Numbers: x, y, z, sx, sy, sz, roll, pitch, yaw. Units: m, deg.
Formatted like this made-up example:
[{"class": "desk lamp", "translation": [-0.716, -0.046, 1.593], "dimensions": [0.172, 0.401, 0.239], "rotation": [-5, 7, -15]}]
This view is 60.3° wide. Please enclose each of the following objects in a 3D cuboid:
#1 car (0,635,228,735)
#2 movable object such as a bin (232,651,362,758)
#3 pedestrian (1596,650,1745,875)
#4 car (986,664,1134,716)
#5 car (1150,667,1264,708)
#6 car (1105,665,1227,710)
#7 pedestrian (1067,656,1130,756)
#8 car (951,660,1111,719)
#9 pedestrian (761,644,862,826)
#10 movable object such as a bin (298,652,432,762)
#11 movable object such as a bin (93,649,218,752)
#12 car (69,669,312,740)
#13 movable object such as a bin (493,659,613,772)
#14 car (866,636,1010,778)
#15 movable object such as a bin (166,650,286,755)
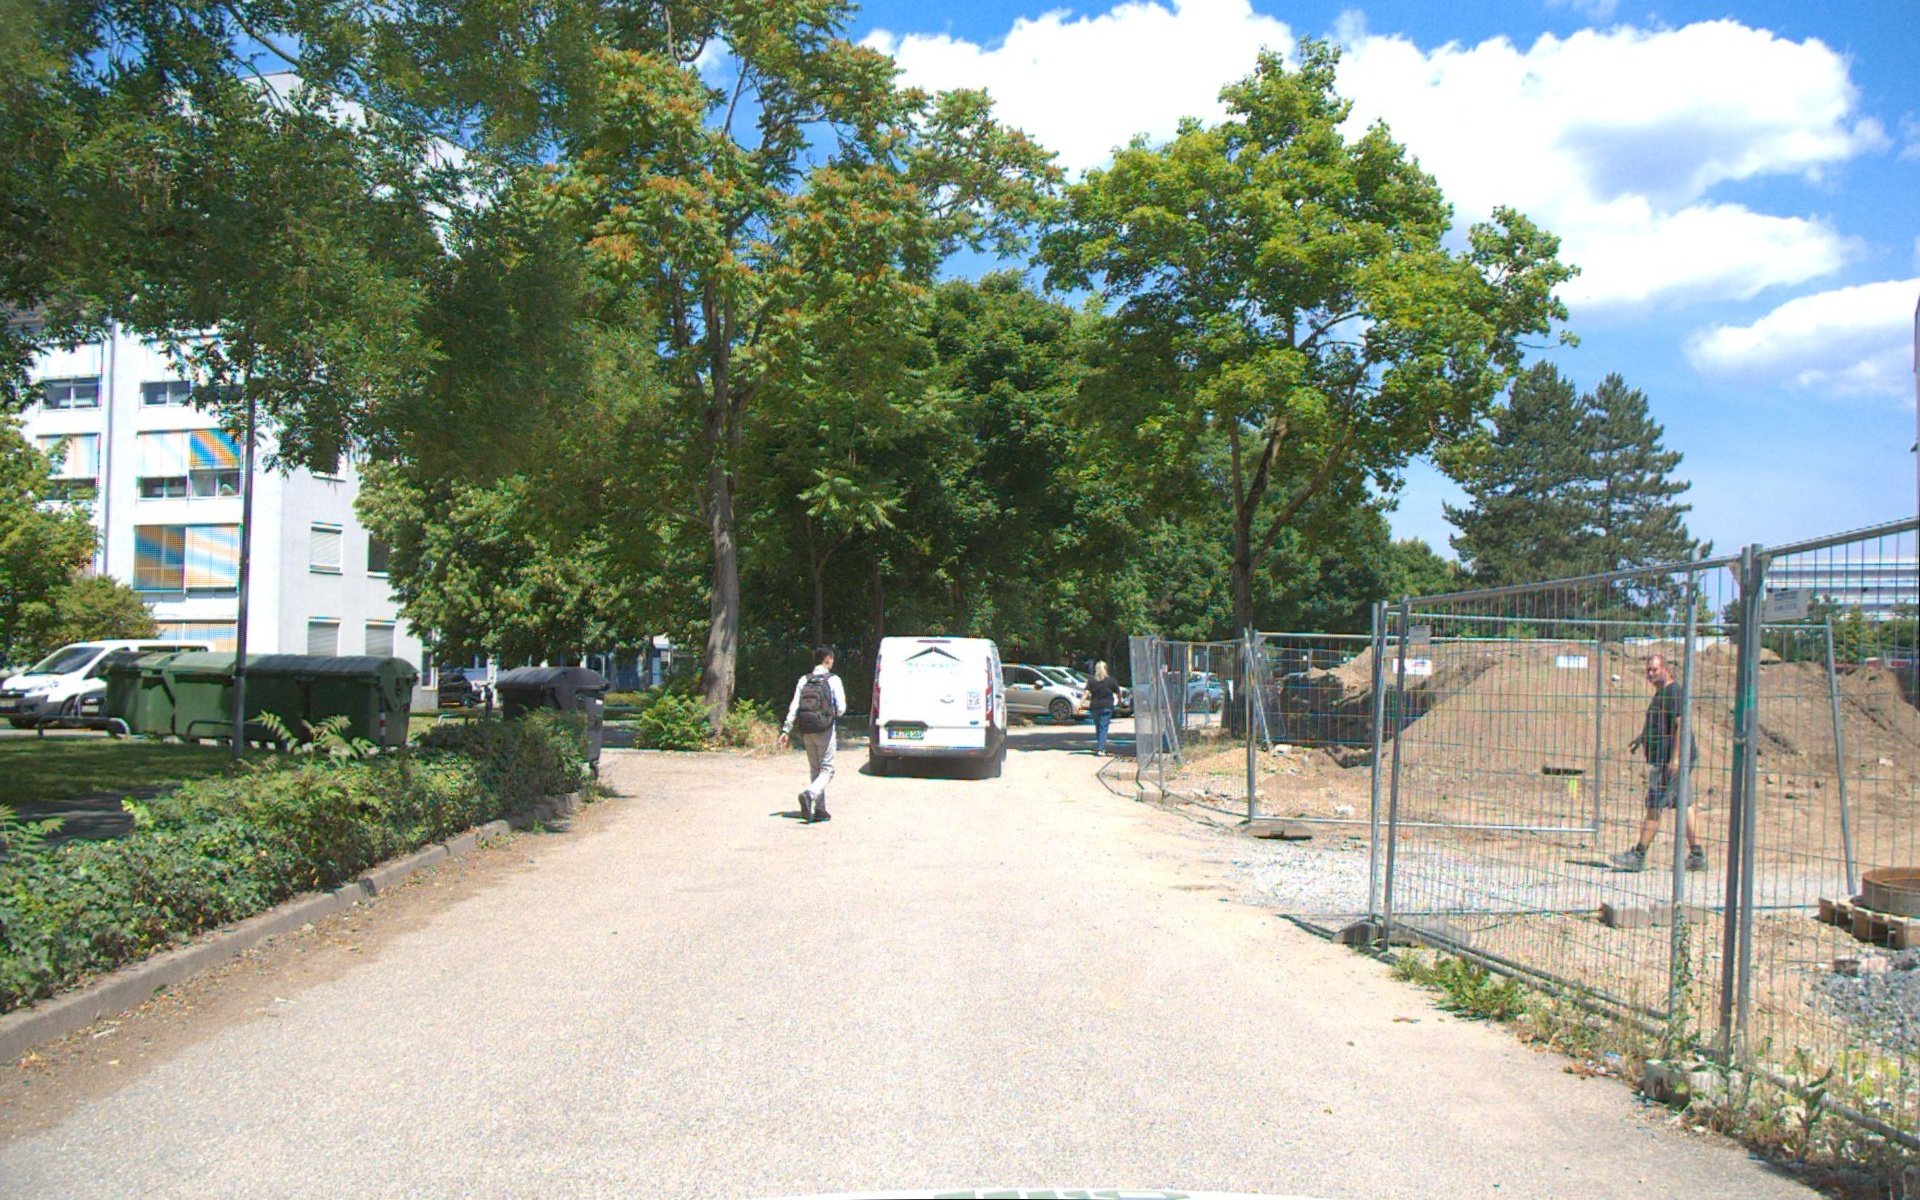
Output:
[{"class": "car", "translation": [-18.869, 1.873, 36.630], "dimensions": [1.953, 2.049, 4.772], "rotation": [-1, -3, 23]}, {"class": "movable object such as a bin", "translation": [-9.617, 1.503, 24.037], "dimensions": [1.327, 1.505, 1.097], "rotation": [0, -2, 13]}, {"class": "pedestrian", "translation": [6.099, 1.369, 14.249], "dimensions": [0.944, 1.852, 0.871], "rotation": [0, -2, 5]}, {"class": "car", "translation": [3.197, 2.841, 52.803], "dimensions": [4.414, 1.558, 1.725], "rotation": [0, -3, 23]}, {"class": "car", "translation": [10.381, 3.662, 69.518], "dimensions": [4.415, 1.626, 1.935], "rotation": [0, -3, 24]}, {"class": "car", "translation": [8.035, 3.388, 64.418], "dimensions": [4.414, 1.626, 1.725], "rotation": [0, -2, 23]}, {"class": "pedestrian", "translation": [2.417, 1.821, 28.758], "dimensions": [1.013, 1.679, 1.050], "rotation": [0, -2, 9]}, {"class": "car", "translation": [2.172, 2.736, 50.488], "dimensions": [4.415, 1.638, 1.998], "rotation": [0, -5, 24]}, {"class": "pedestrian", "translation": [-1.482, 1.331, 16.652], "dimensions": [0.855, 1.760, 1.080], "rotation": [0, -2, 2]}, {"class": "movable object such as a bin", "translation": [-8.434, 1.498, 23.467], "dimensions": [1.293, 1.505, 1.208], "rotation": [0, -2, 21]}, {"class": "movable object such as a bin", "translation": [-12.223, 1.512, 25.136], "dimensions": [1.377, 1.505, 1.047], "rotation": [-1, -2, 24]}, {"class": "car", "translation": [-16.236, 2.180, 35.179], "dimensions": [1.791, 1.376, 4.624], "rotation": [0, -3, 23]}, {"class": "movable object such as a bin", "translation": [-5.356, 1.496, 21.771], "dimensions": [1.107, 1.419, 1.142], "rotation": [2, -3, -43]}, {"class": "car", "translation": [-0.233, 1.593, 25.537], "dimensions": [1.932, 1.981, 4.581], "rotation": [0, -2, 3]}, {"class": "movable object such as a bin", "translation": [-10.890, 1.507, 24.544], "dimensions": [1.232, 1.505, 1.047], "rotation": [-1, -2, 24]}]
